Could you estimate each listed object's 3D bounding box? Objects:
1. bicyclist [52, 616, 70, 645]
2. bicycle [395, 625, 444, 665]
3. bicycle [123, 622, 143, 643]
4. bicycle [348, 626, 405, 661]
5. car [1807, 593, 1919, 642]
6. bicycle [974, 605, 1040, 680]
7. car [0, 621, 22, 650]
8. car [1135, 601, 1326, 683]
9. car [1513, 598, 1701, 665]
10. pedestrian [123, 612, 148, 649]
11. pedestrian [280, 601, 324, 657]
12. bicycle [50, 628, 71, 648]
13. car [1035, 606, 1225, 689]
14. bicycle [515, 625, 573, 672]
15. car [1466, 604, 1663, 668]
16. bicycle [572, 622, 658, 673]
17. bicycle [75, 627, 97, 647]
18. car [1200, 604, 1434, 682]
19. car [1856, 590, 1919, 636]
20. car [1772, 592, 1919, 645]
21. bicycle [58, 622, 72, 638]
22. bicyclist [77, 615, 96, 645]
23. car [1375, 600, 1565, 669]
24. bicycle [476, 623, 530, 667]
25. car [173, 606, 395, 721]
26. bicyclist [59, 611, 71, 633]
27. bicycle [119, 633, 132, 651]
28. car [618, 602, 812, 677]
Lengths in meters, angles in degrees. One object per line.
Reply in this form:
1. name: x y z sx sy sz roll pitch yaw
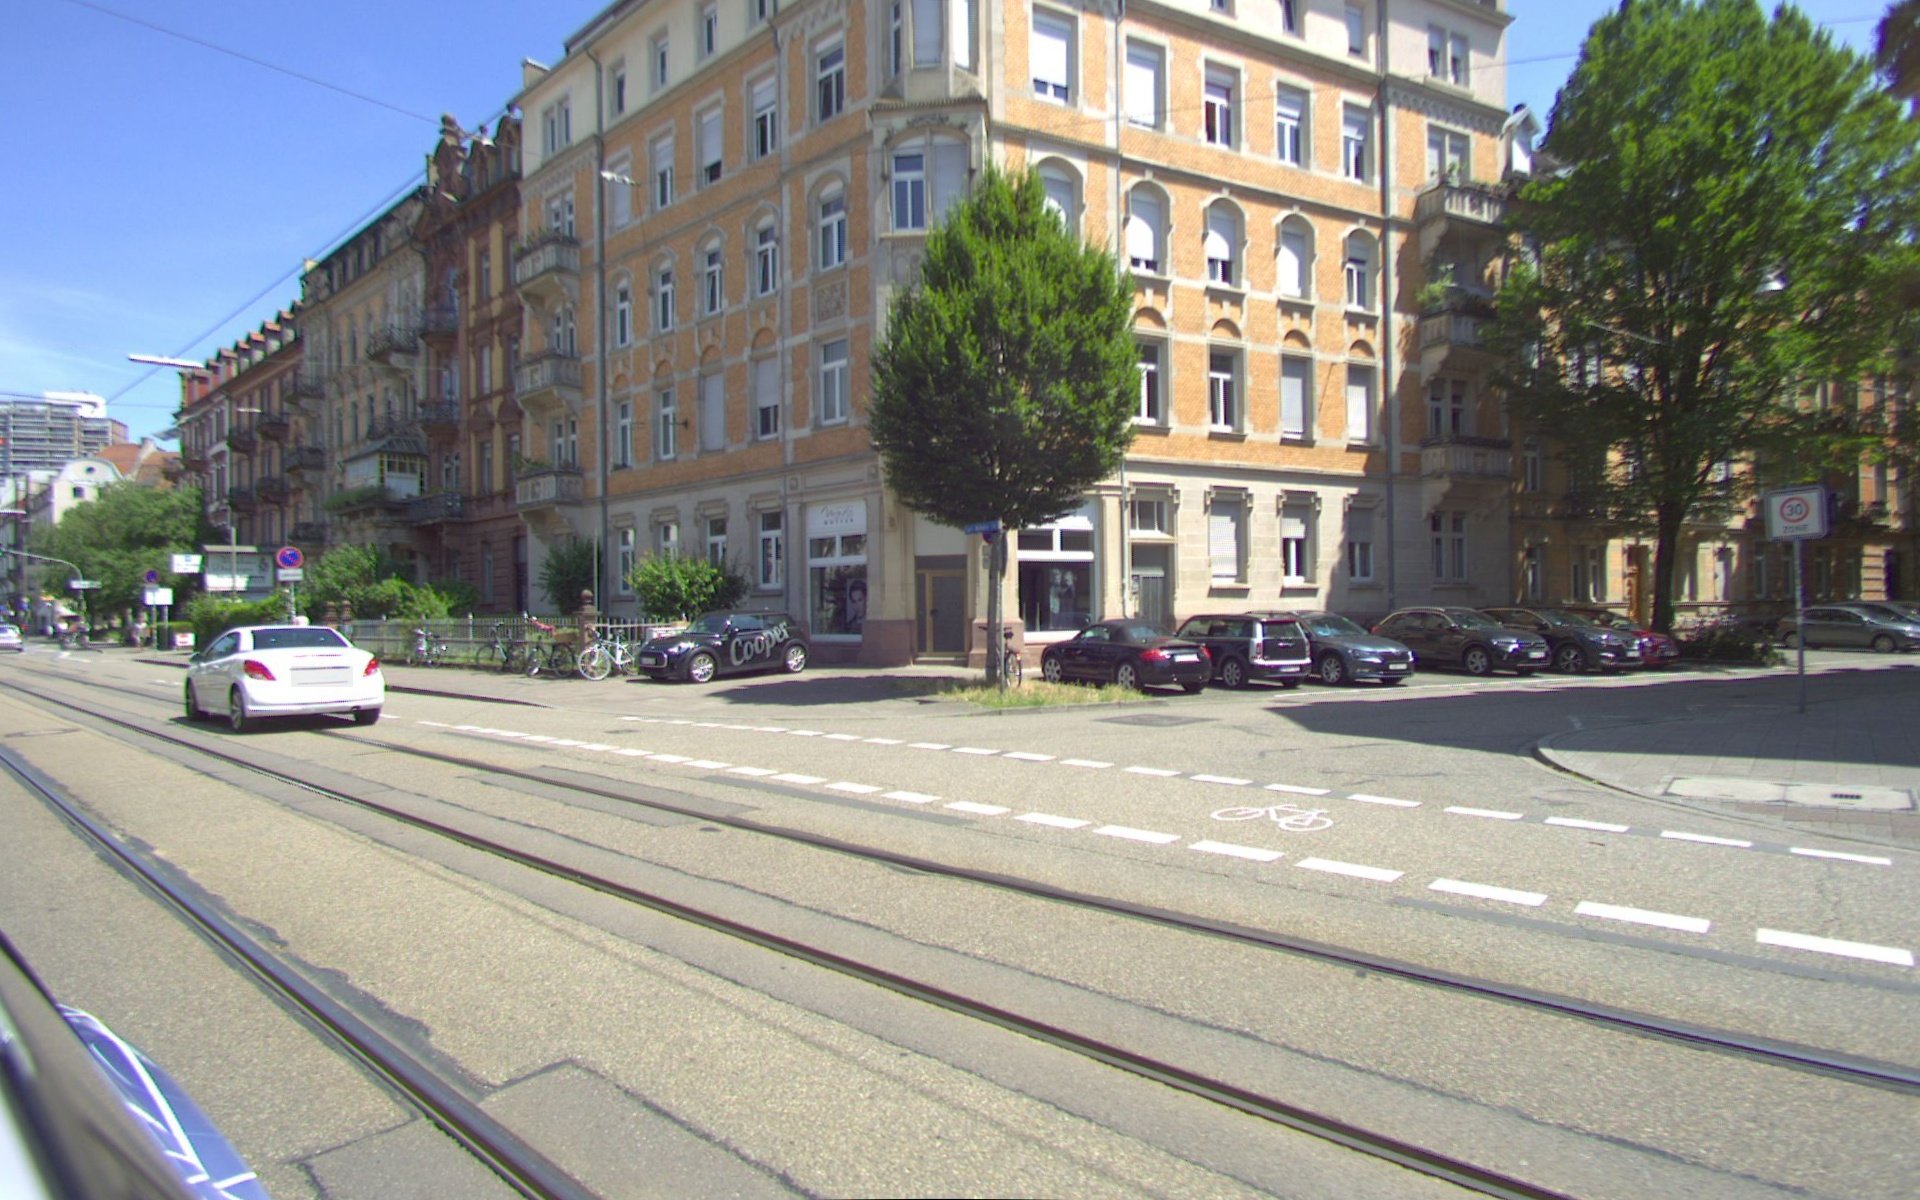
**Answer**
1. bicyclist: -47.920 1.626 53.932 0.951 1.556 0.586 -2 -3 41
2. bicycle: -14.428 1.192 27.018 1.709 0.994 0.491 -2 2 40
3. bicycle: -45.028 1.778 55.092 1.932 1.101 0.631 -2 1 45
4. bicycle: -18.684 1.381 32.434 0.495 1.051 1.493 -2 -2 43
5. car: 31.263 0.599 33.874 1.965 1.569 4.013 0 -1 -27
6. bicycle: 0.814 0.723 18.067 0.493 1.237 1.856 0 1 -20
7. car: -51.000 1.888 53.567 3.999 1.460 1.666 -2 -2 42
8. car: 5.400 0.772 20.668 1.603 1.450 3.784 0 1 -28
9. car: 16.652 0.745 26.233 1.603 1.552 3.784 0 1 -28
10. pedestrian: -39.686 1.460 48.712 0.861 1.713 1.014 0 -1 -42
11. pedestrian: -21.182 0.931 32.565 1.138 1.736 0.842 -2 1 42
12. bicycle: -47.930 2.024 53.930 1.889 1.086 0.575 -2 -3 41
13. car: 3.146 0.831 19.425 1.603 1.349 3.784 0 1 -28
14. bicycle: -9.129 1.044 22.168 1.709 0.991 0.434 -2 -1 40
15. car: 14.499 0.801 24.478 1.603 1.349 3.784 0 1 -28
16. bicycle: -7.486 1.019 21.999 1.685 1.045 0.551 0 -1 -44
17. bicycle: -47.302 2.015 54.757 1.874 1.086 0.622 -2 -3 41
18. car: 7.456 0.825 21.695 1.716 1.375 4.841 0 1 -28
19. car: 33.815 0.455 34.821 1.965 1.569 4.013 0 1 -27
20. car: 29.380 0.560 33.025 1.965 1.569 4.013 0 1 -27
21. bicycle: -62.596 2.099 70.793 1.828 1.046 0.561 -2 -2 42
22. bicyclist: -47.248 1.609 54.726 1.028 1.596 0.627 -2 -3 41
23. car: 11.944 0.751 23.944 1.603 1.453 3.784 0 1 -28
24. bicycle: -10.643 1.044 23.538 1.709 0.991 0.434 -2 -1 40
25. car: -9.840 0.839 14.616 3.999 1.435 1.737 -1 -2 42
26. bicyclist: -62.626 1.537 70.822 0.891 1.527 0.556 -2 -2 42
27. bicycle: -50.117 2.526 60.791 1.565 1.064 0.454 -2 -1 45
28. car: -5.152 0.765 21.564 1.713 1.439 3.720 0 0 42
